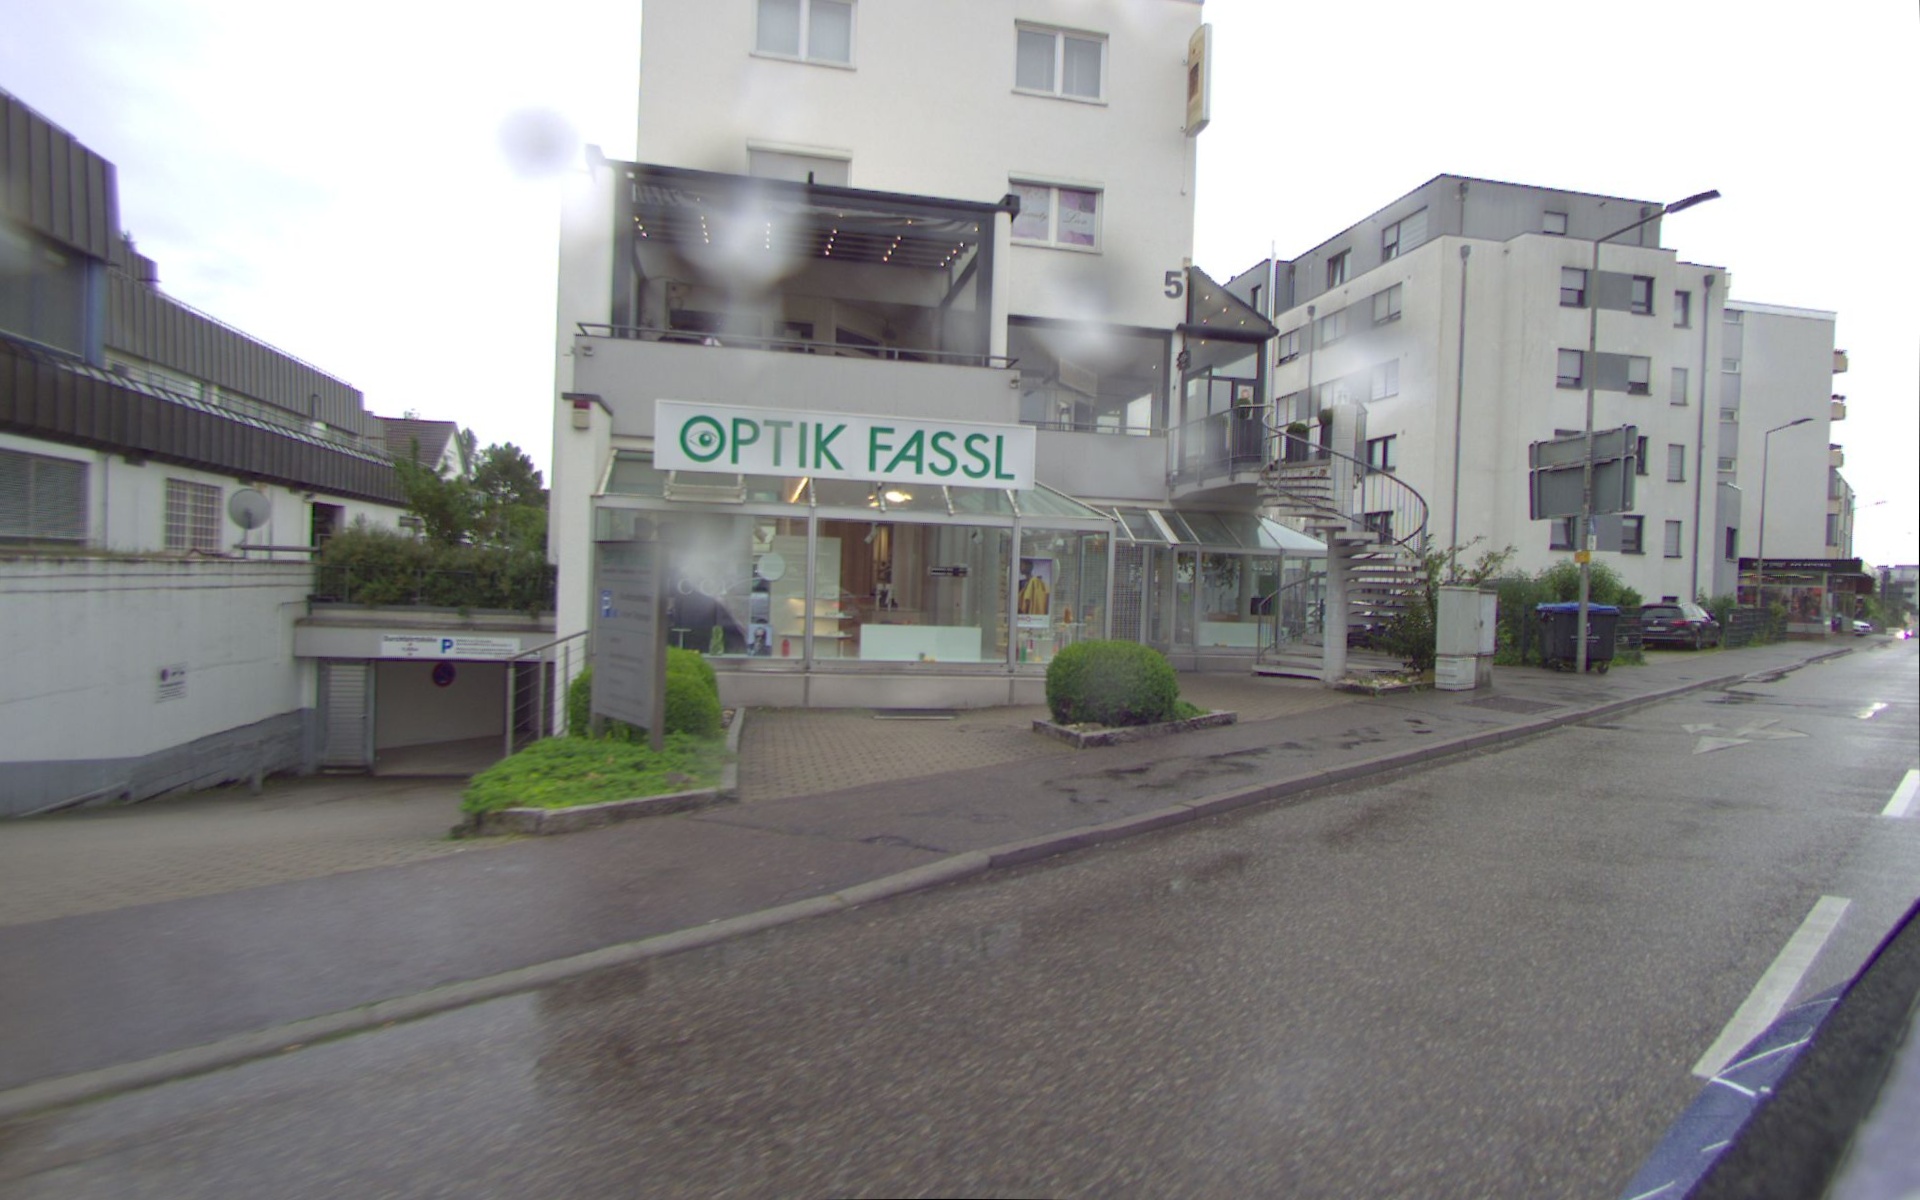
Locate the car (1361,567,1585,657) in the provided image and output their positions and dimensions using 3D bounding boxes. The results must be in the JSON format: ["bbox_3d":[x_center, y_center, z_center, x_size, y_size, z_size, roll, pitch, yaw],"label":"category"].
[{"bbox_3d":[12.814,0.285,25.408,4.680,2.039,2.004,2,1,-10],"label":"car"}]

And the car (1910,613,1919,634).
[{"bbox_3d":[96.536,2.422,101.131,3.932,2.039,1.996,3,0,-43],"label":"car"}]

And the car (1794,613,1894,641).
[{"bbox_3d":[54.390,1.619,62.369,1.833,1.513,4.280,3,0,-16],"label":"car"}]

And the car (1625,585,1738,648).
[{"bbox_3d":[22.881,0.491,32.020,4.611,1.807,1.996,1,1,-43],"label":"car"}]
